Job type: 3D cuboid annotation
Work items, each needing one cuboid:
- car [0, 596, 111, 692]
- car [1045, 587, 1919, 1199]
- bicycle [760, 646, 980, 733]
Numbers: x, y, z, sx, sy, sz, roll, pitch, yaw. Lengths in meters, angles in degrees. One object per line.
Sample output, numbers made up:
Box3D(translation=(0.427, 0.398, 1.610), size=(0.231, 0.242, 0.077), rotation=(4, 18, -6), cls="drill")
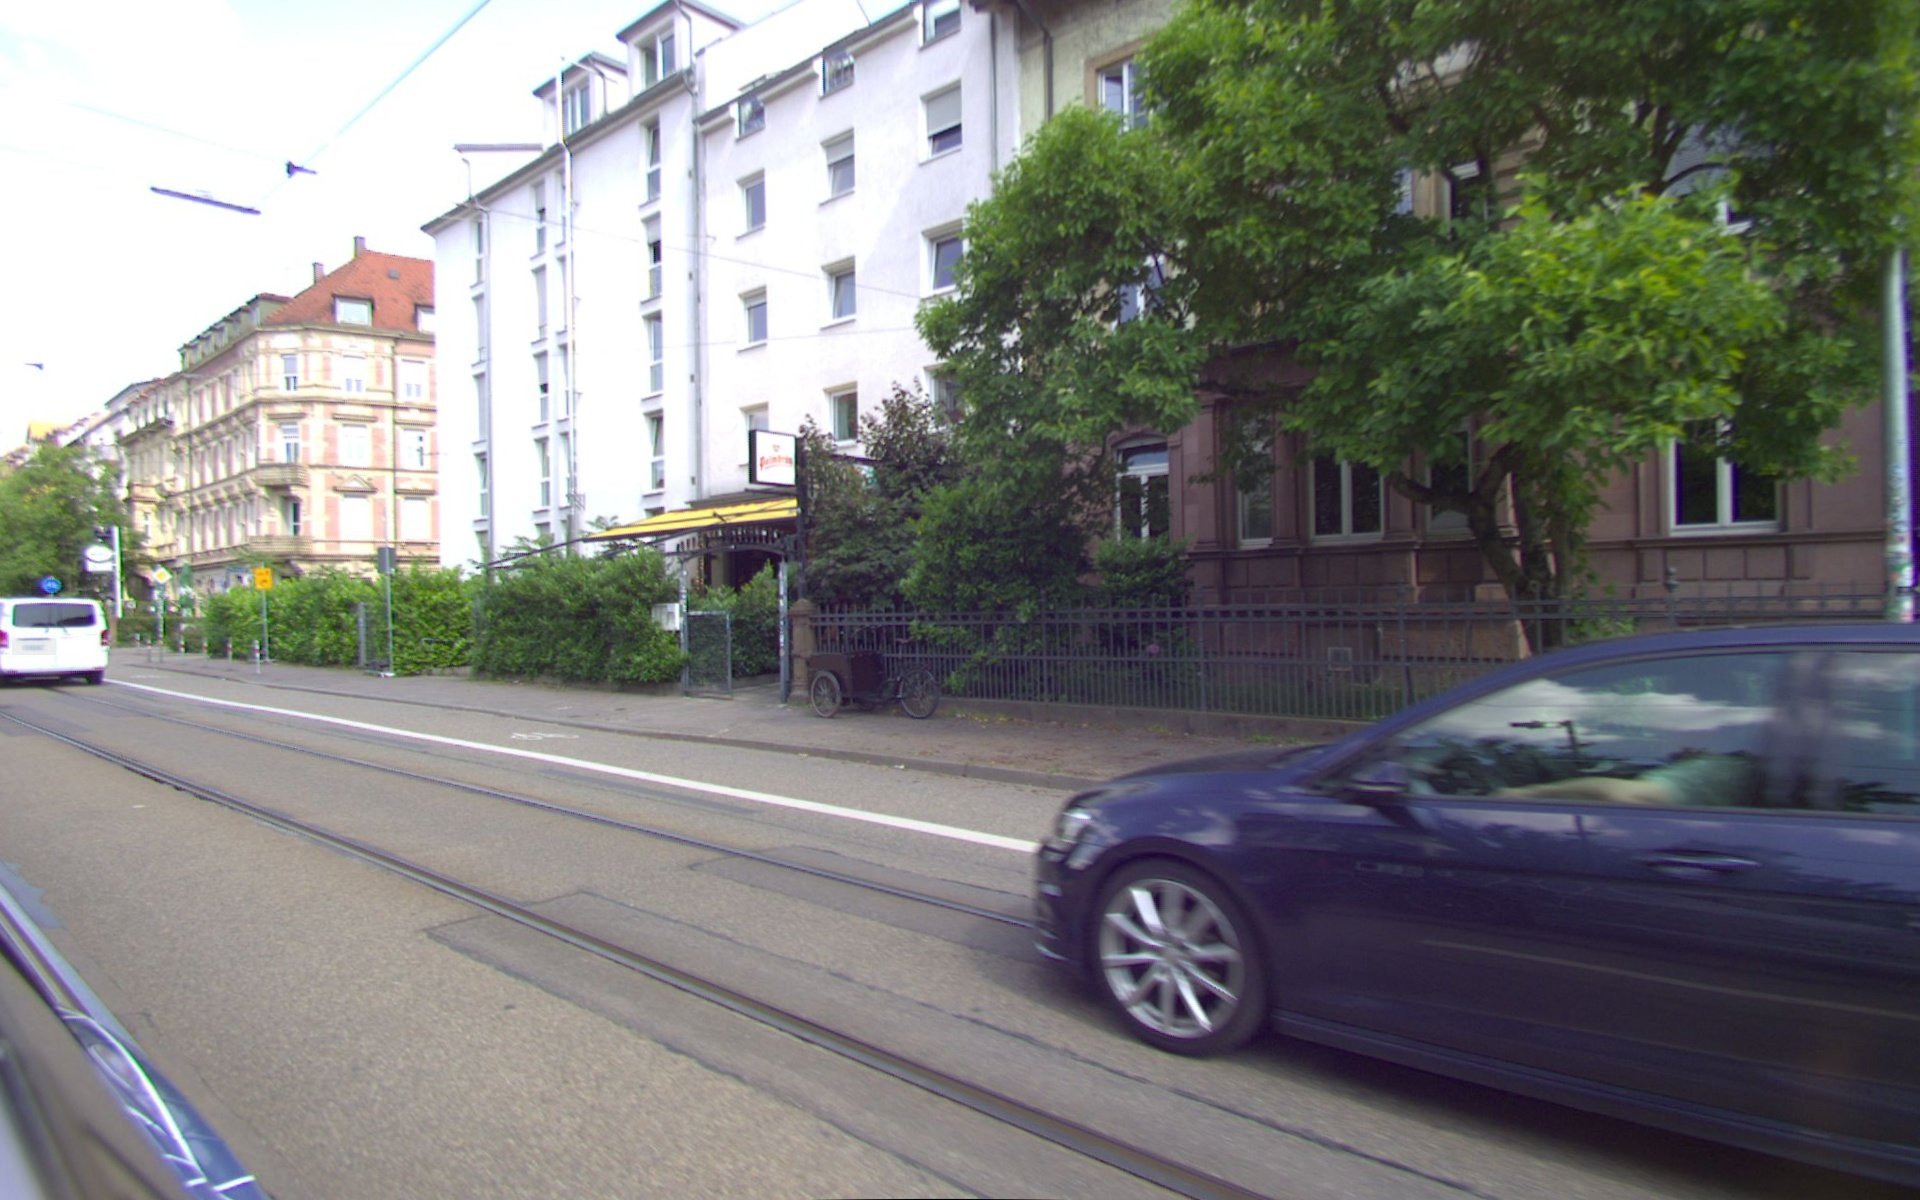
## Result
Box3D(translation=(-20.871, 0.944, 22.638), size=(5.377, 1.922, 1.879), rotation=(-2, -1, 39), cls="car")
Box3D(translation=(2.334, 0.694, 2.911), size=(3.927, 1.412, 1.671), rotation=(-1, -2, 40), cls="car")
Box3D(translation=(-1.258, 1.135, 13.523), size=(2.986, 0.915, 1.131), rotation=(-2, 2, 40), cls="bicycle")
